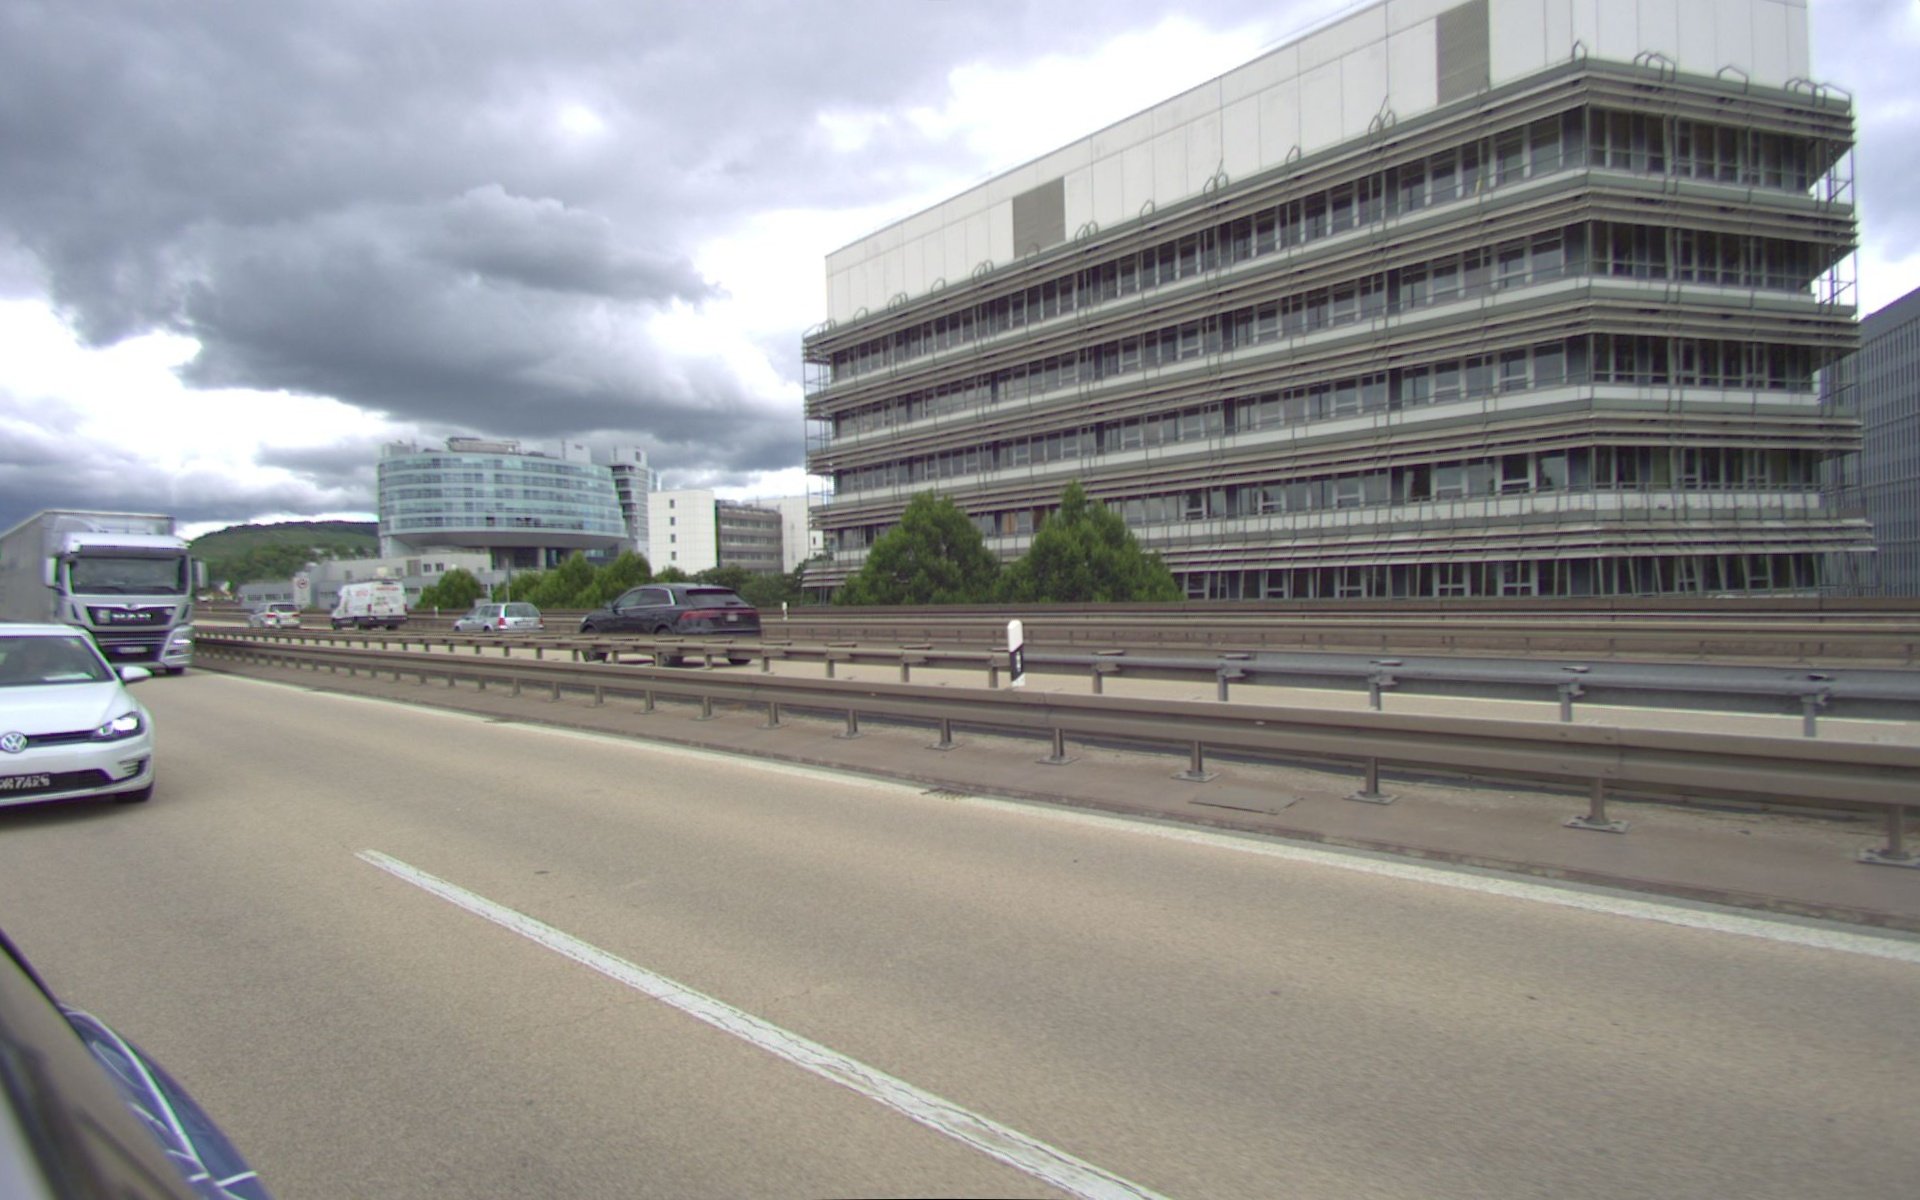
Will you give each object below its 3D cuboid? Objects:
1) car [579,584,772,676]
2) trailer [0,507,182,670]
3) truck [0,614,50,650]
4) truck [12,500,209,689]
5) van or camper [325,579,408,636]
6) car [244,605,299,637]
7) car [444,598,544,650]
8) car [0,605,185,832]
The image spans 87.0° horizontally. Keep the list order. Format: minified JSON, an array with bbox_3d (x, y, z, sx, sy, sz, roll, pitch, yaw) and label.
[{"bbox_3d":[-5.956,0.562,20.910,4.334,1.662,1.744,0,2,42],"label":"car"},{"bbox_3d":[-26.501,-0.295,30.344,11.767,4.056,3.147,-1,1,43],"label":"trailer"},{"bbox_3d":[-42.221,1.410,45.408,3.515,1.541,1.804,0,0,44],"label":"truck"},{"bbox_3d":[-20.955,-0.146,24.871,5.691,4.067,3.099,0,1,44],"label":"truck"},{"bbox_3d":[-33.140,0.436,56.403,7.119,3.031,2.147,-1,-1,44],"label":"van or camper"},{"bbox_3d":[-38.117,1.105,55.987,4.313,1.662,1.664,0,1,44],"label":"car"},{"bbox_3d":[-16.240,0.782,35.166,4.449,1.662,1.664,0,1,44],"label":"car"},{"bbox_3d":[-7.873,0.808,8.250,4.062,1.519,1.904,0,0,44],"label":"car"}]
